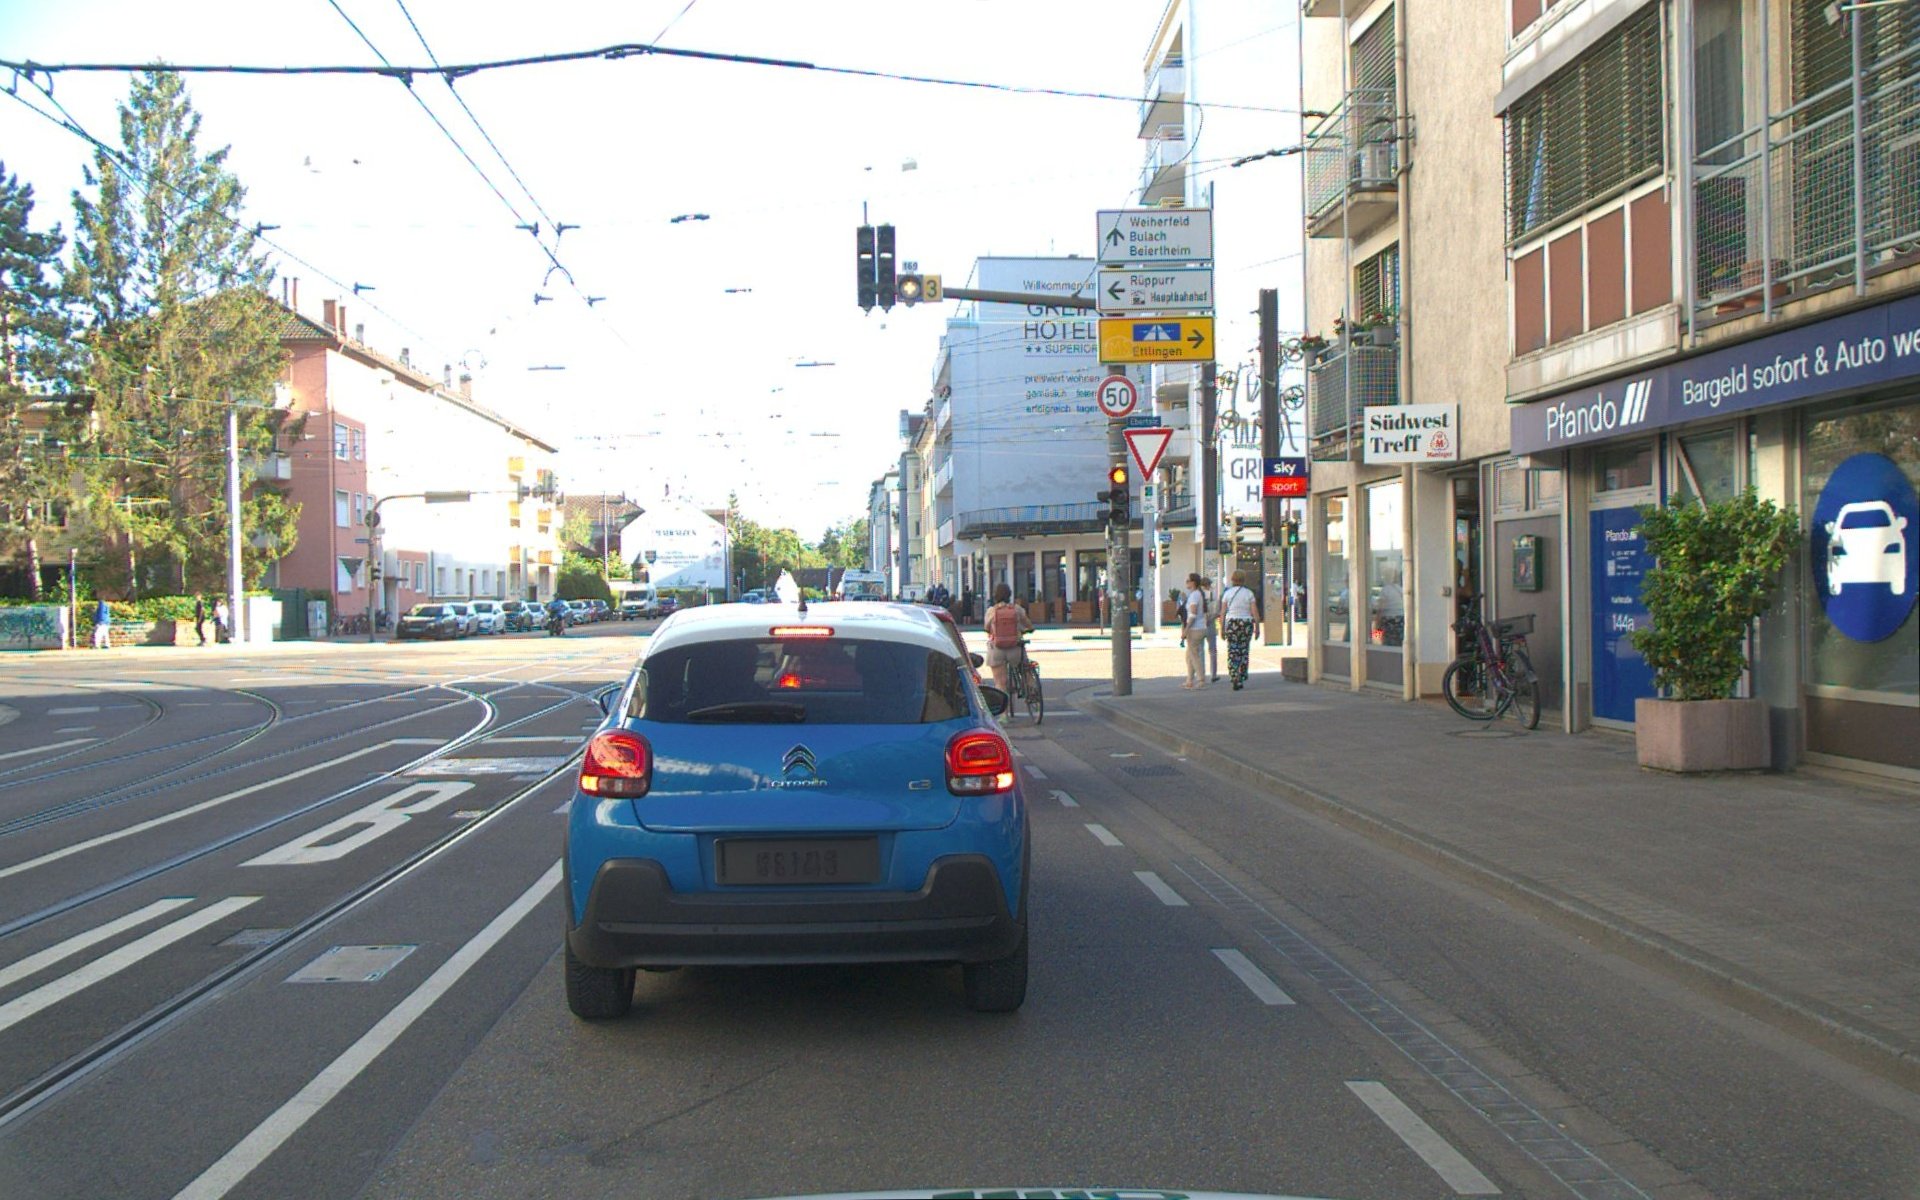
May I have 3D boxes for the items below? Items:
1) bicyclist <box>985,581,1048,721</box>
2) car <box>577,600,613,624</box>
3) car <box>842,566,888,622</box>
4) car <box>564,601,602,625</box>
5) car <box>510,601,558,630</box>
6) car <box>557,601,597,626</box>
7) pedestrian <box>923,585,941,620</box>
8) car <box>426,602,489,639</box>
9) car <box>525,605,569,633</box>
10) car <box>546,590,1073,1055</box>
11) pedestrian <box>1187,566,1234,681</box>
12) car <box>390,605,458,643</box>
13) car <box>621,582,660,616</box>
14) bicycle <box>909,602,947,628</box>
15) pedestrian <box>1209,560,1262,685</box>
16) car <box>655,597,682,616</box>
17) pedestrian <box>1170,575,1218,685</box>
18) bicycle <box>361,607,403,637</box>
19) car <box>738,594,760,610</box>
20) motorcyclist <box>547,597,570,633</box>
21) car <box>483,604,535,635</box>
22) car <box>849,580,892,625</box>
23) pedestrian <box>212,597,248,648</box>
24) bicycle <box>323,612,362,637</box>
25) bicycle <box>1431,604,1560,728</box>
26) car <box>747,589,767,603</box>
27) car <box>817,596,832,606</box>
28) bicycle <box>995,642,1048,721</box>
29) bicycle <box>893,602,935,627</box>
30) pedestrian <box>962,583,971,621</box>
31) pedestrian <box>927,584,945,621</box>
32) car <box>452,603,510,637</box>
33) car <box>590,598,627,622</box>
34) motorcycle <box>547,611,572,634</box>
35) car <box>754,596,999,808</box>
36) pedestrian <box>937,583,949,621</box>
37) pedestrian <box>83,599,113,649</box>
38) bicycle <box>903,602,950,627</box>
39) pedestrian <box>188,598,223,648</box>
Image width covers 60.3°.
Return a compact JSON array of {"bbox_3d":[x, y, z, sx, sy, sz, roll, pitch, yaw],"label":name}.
[{"bbox_3d":[0.688,0.607,20.285,0.711,1.674,0.790,-1,0,-1],"label":"bicyclist"},{"bbox_3d":[-25.510,0.818,115.759,1.833,1.601,3.997,-1,0,-4],"label":"car"},{"bbox_3d":[-4.159,-0.244,72.367,1.954,2.366,3.997,0,0,-4],"label":"car"},{"bbox_3d":[-25.192,0.865,110.672,1.874,1.523,3.996,-1,0,-5],"label":"car"},{"bbox_3d":[-23.600,0.825,91.721,1.874,1.523,3.996,-1,0,-5],"label":"car"},{"bbox_3d":[-24.466,0.855,105.684,1.874,1.523,3.996,-1,0,-5],"label":"car"},{"bbox_3d":[-1.254,0.108,74.390,0.637,1.583,0.490,-1,0,-23],"label":"pedestrian"},{"bbox_3d":[-22.502,0.891,74.194,1.874,1.523,3.996,-1,0,-5],"label":"car"},{"bbox_3d":[-24.264,1.103,97.283,1.874,1.523,3.996,-1,0,-5],"label":"car"},{"bbox_3d":[-0.705,0.708,7.394,1.710,1.488,3.994,0,0,-7],"label":"car"},{"bbox_3d":[3.818,0.348,25.261,0.530,1.701,0.624,-3,2,-3],"label":"pedestrian"},{"bbox_3d":[-22.144,0.965,68.473,1.874,1.458,3.995,-1,0,-6],"label":"car"},{"bbox_3d":[-22.943,-0.080,118.950,2.164,2.290,4.672,-1,0,-5],"label":"car"},{"bbox_3d":[-1.255,0.596,65.960,1.473,0.973,0.702,-1,0,1],"label":"bicycle"},{"bbox_3d":[3.857,0.309,23.216,0.530,1.701,0.650,-3,0,-3],"label":"pedestrian"},{"bbox_3d":[-25.371,0.573,144.089,1.982,1.552,3.996,-1,0,-5],"label":"car"},{"bbox_3d":[3.400,0.425,24.049,0.530,1.534,0.611,-3,2,-3],"label":"pedestrian"},{"bbox_3d":[-25.717,0.966,73.688,0.831,1.247,3.302,-1,0,-2],"label":"bicycle"},{"bbox_3d":[-21.529,0.158,169.065,1.982,1.552,3.996,-1,0,-5],"label":"car"},{"bbox_3d":[-16.216,0.607,66.861,0.704,1.402,0.911,-1,0,-1],"label":"motorcyclist"},{"bbox_3d":[-23.318,0.991,85.587,1.874,1.523,3.996,-1,0,-5],"label":"car"},{"bbox_3d":[-3.662,0.101,67.459,1.698,1.780,3.211,0,0,-4],"label":"car"},{"bbox_3d":[-25.225,0.781,57.142,0.826,1.720,0.737,-1,0,22],"label":"pedestrian"},{"bbox_3d":[-25.076,0.994,67.190,0.718,0.968,2.596,-1,0,-2],"label":"bicycle"},{"bbox_3d":[5.096,0.597,15.855,0.519,1.091,1.809,-1,0,-4],"label":"bicycle"},{"bbox_3d":[-22.952,-0.429,187.084,1.982,1.552,3.996,-1,0,-5],"label":"car"},{"bbox_3d":[-17.154,0.124,209.896,1.722,1.281,3.826,-1,0,-8],"label":"car"},{"bbox_3d":[0.756,0.996,20.588,0.489,0.879,1.748,-1,0,-3],"label":"bicycle"},{"bbox_3d":[-1.894,0.603,68.368,1.684,0.973,0.702,-1,0,1],"label":"bicycle"},{"bbox_3d":[0.282,0.076,70.141,0.279,1.583,0.304,-1,0,-10],"label":"pedestrian"},{"bbox_3d":[-1.050,0.104,72.589,0.637,1.583,0.490,-1,0,-23],"label":"pedestrian"},{"bbox_3d":[-22.780,0.922,78.814,1.874,1.523,3.996,-1,0,-5],"label":"car"},{"bbox_3d":[-25.717,0.729,121.182,1.990,1.647,4.508,-1,0,-3],"label":"car"},{"bbox_3d":[-16.224,0.899,67.016,0.603,0.879,1.670,-1,0,-1],"label":"motorcycle"},{"bbox_3d":[-0.615,0.712,13.619,1.703,1.445,3.999,-1,0,-1],"label":"car"},{"bbox_3d":[-0.714,0.078,69.931,0.482,1.583,0.383,-1,0,-4],"label":"pedestrian"},{"bbox_3d":[-29.031,0.790,55.698,0.840,1.654,0.509,-1,0,-34],"label":"pedestrian"},{"bbox_3d":[-1.360,0.597,67.018,1.835,0.973,0.702,-1,0,1],"label":"bicycle"},{"bbox_3d":[-26.212,0.803,57.473,0.826,1.720,0.737,-1,0,22],"label":"pedestrian"}]
